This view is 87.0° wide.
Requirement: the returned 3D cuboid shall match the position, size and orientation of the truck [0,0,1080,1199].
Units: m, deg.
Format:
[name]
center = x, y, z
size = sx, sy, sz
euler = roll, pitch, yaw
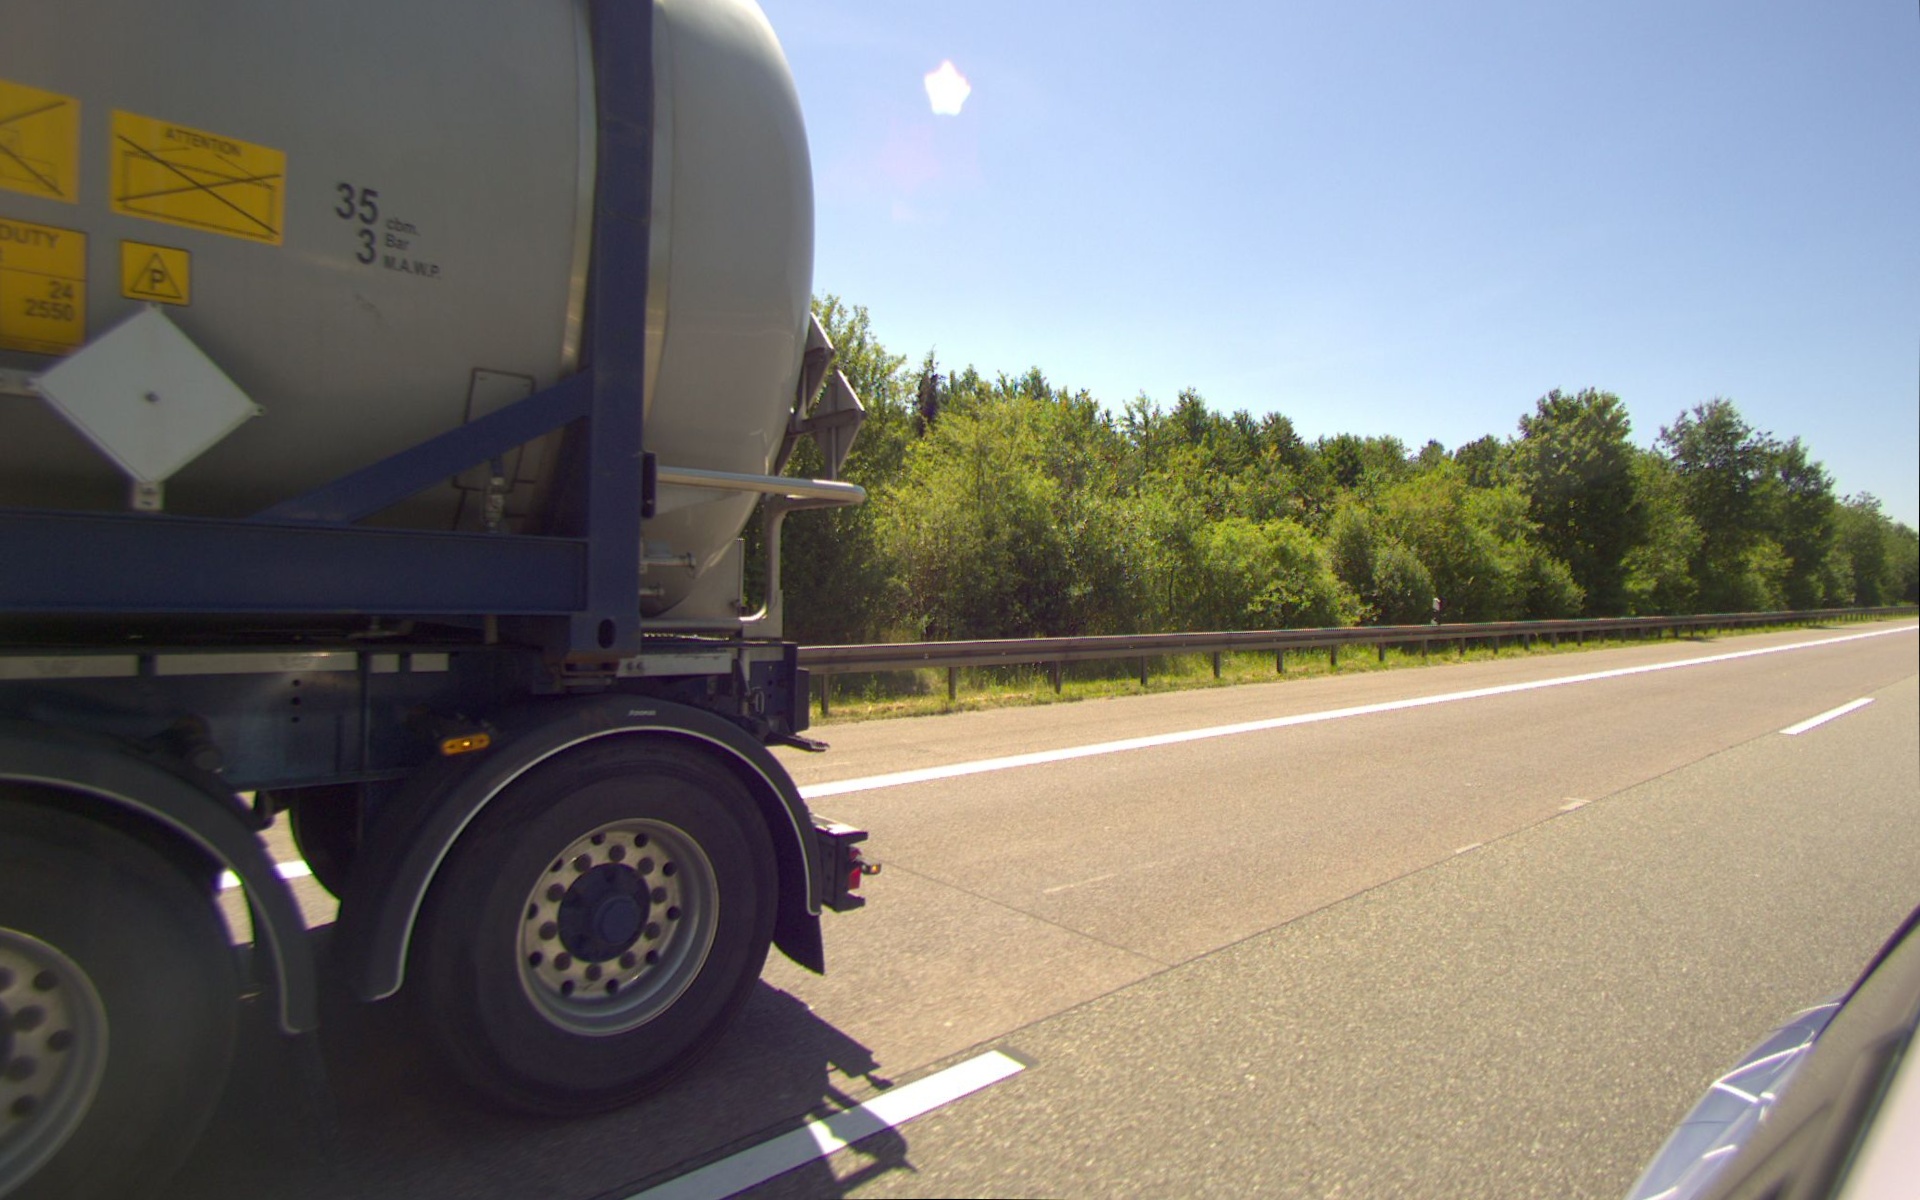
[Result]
[truck]
center = -5.389, -0.687, 0.633
size = 13.122, 4.097, 2.803
euler = -1, 0, -41
